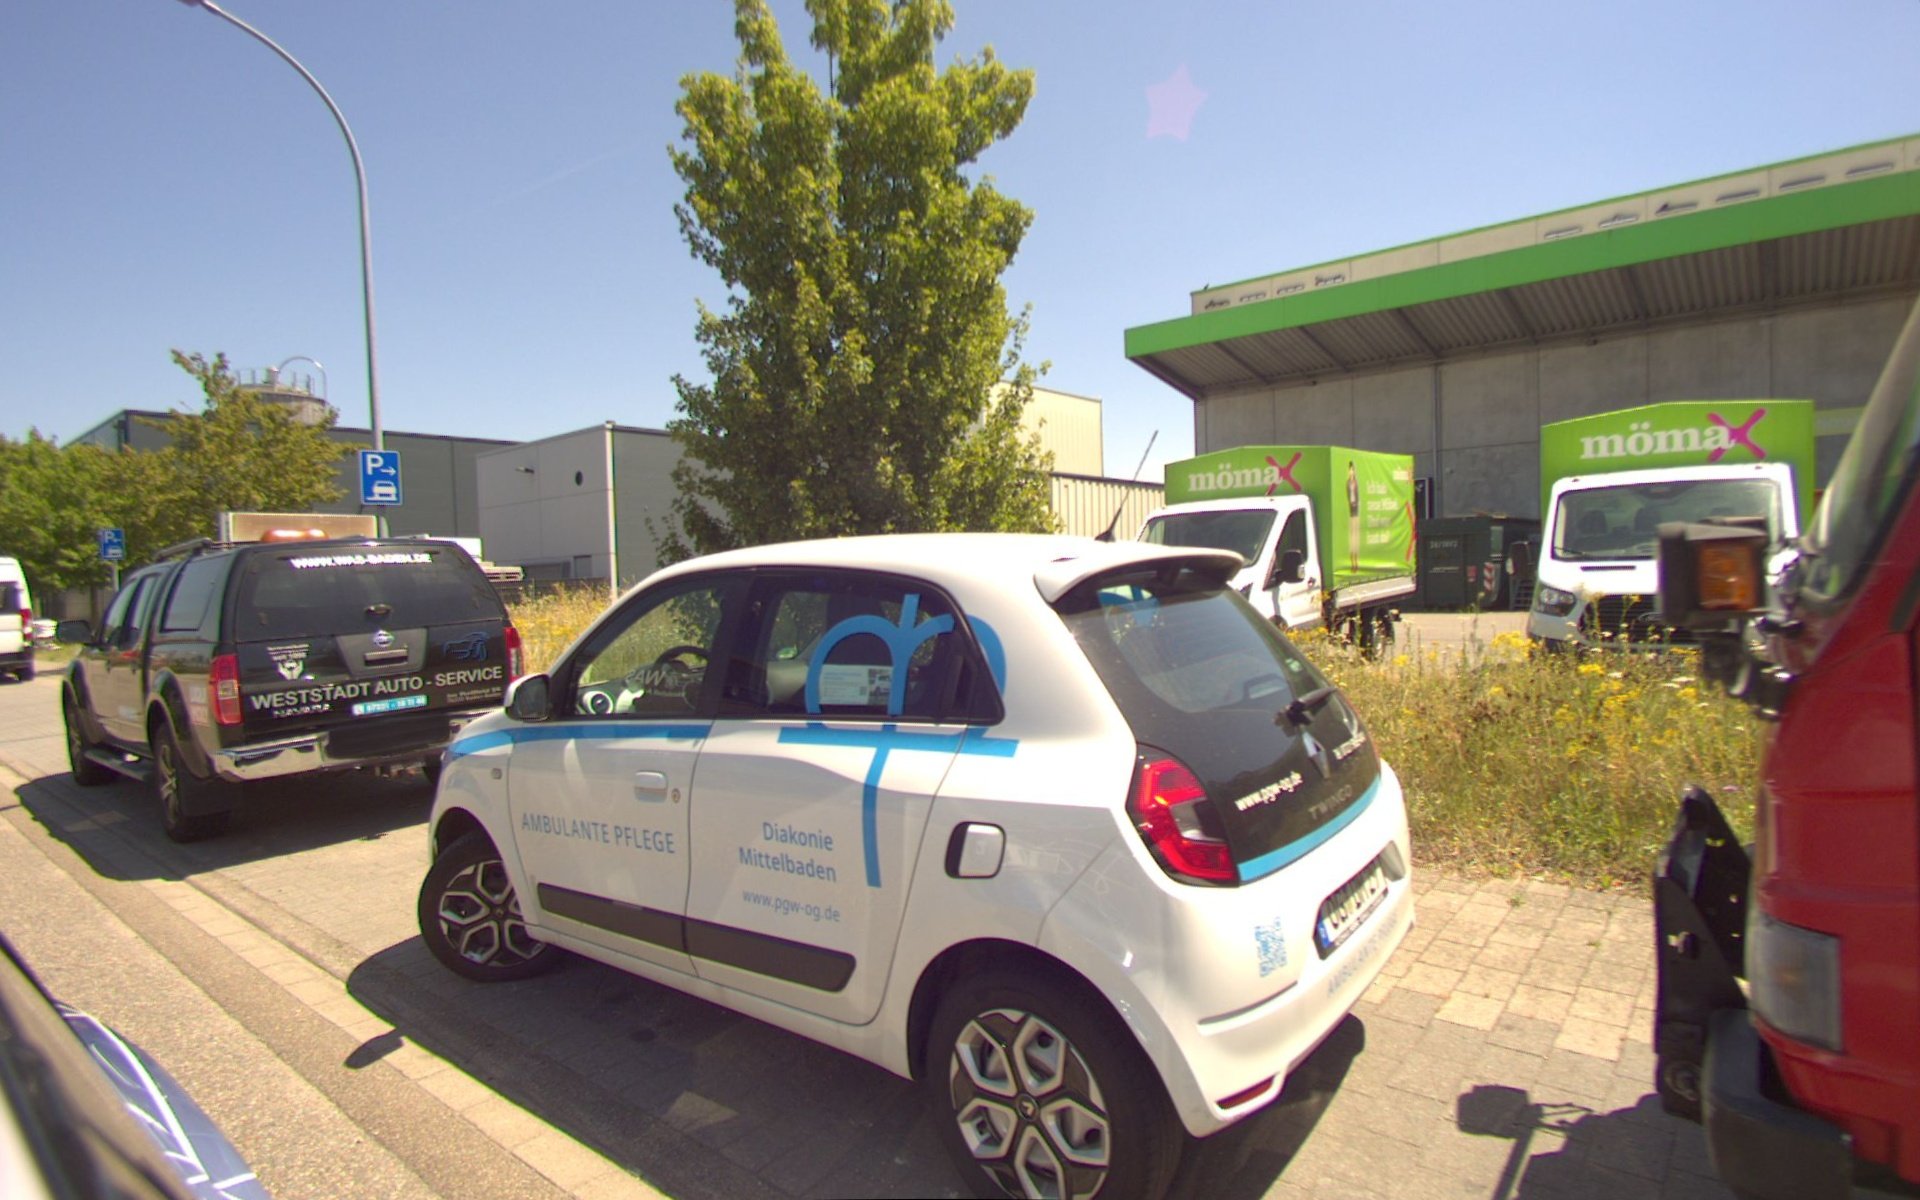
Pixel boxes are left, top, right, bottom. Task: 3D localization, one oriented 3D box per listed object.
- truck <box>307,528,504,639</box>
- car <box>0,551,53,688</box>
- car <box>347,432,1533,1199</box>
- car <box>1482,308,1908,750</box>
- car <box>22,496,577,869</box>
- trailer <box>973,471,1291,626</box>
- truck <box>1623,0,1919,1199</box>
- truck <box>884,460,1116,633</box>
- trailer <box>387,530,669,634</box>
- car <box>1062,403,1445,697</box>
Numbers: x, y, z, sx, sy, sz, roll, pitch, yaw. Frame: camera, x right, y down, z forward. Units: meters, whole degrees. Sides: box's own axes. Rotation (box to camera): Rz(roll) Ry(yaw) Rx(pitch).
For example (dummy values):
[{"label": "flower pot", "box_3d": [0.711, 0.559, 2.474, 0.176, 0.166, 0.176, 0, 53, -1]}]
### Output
[{"label": "truck", "box_3d": [-21.713, -0.685, 39.989, 3.142, 4.000, 5.997, -1, 1, 28]}, {"label": "car", "box_3d": [-21.128, 0.455, 21.216, 6.082, 2.617, 2.299, -1, 3, 41]}, {"label": "car", "box_3d": [-0.311, 0.487, 3.513, 3.762, 1.562, 1.834, -1, 3, 38]}, {"label": "car", "box_3d": [7.178, -0.596, 9.855, 2.518, 2.947, 5.916, -1, 2, 39]}, {"label": "car", "box_3d": [-5.263, 0.402, 7.663, 5.398, 1.914, 1.954, -1, 3, 40]}, {"label": "trailer", "box_3d": [6.491, -1.552, 33.828, 3.217, 4.118, 15.167, -1, 1, 40]}, {"label": "truck", "box_3d": [3.279, 0.075, 0.601, 4.641, 2.239, 1.833, -1, 3, 39]}, {"label": "truck", "box_3d": [1.237, -1.331, 27.504, 3.217, 4.118, 6.044, -1, 1, 40]}, {"label": "trailer", "box_3d": [-18.780, -0.899, 45.588, 3.142, 4.000, 12.421, -1, 1, 28]}, {"label": "car", "box_3d": [4.021, -0.608, 12.881, 2.518, 2.845, 5.916, -1, 2, 39]}]
